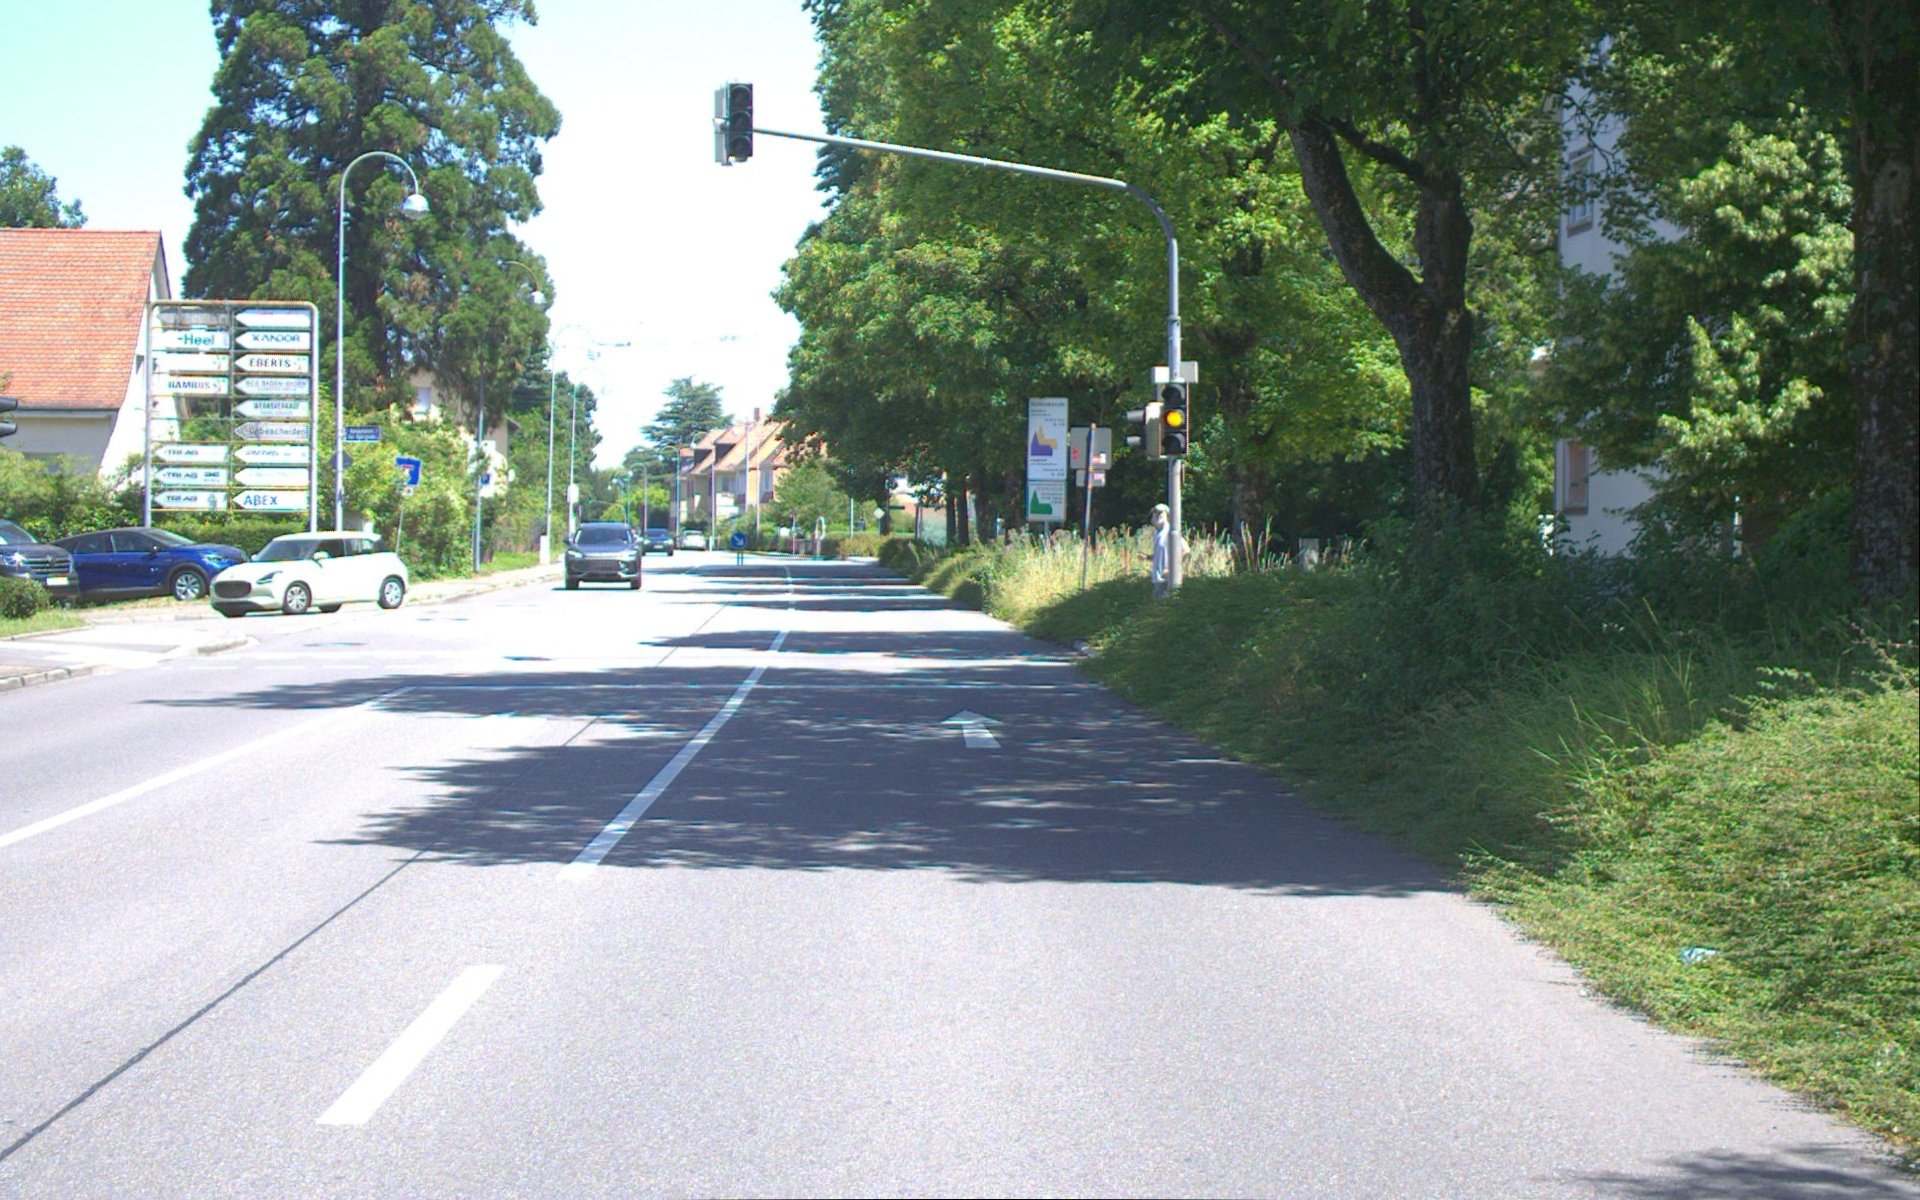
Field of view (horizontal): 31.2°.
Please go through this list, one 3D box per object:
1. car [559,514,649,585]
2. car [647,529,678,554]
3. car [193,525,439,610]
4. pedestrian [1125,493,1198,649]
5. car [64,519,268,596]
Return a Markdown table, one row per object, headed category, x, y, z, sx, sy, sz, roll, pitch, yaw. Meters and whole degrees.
| category | x | y | z | sx | sy | sz | roll | pitch | yaw |
| --- | --- | --- | --- | --- | --- | --- | --- | --- | --- |
| car | -8.884 | -1.271 | 86.109 | 1.879 | 1.712 | 4.310 | 1 | 1 | -1 |
| car | -16.382 | -3.228 | 189.460 | 1.431 | 1.318 | 3.355 | 1 | 1 | 0 |
| car | -11.714 | -0.605 | 62.741 | 1.997 | 1.482 | 4.301 | 1 | 1 | 33 |
| pedestrian | 2.277 | -0.324 | 38.872 | 0.560 | 1.745 | 0.615 | 0 | 1 | -27 |
| car | -15.333 | -0.832 | 66.426 | 3.492 | 1.422 | 1.600 | 1 | 1 | 7 |
